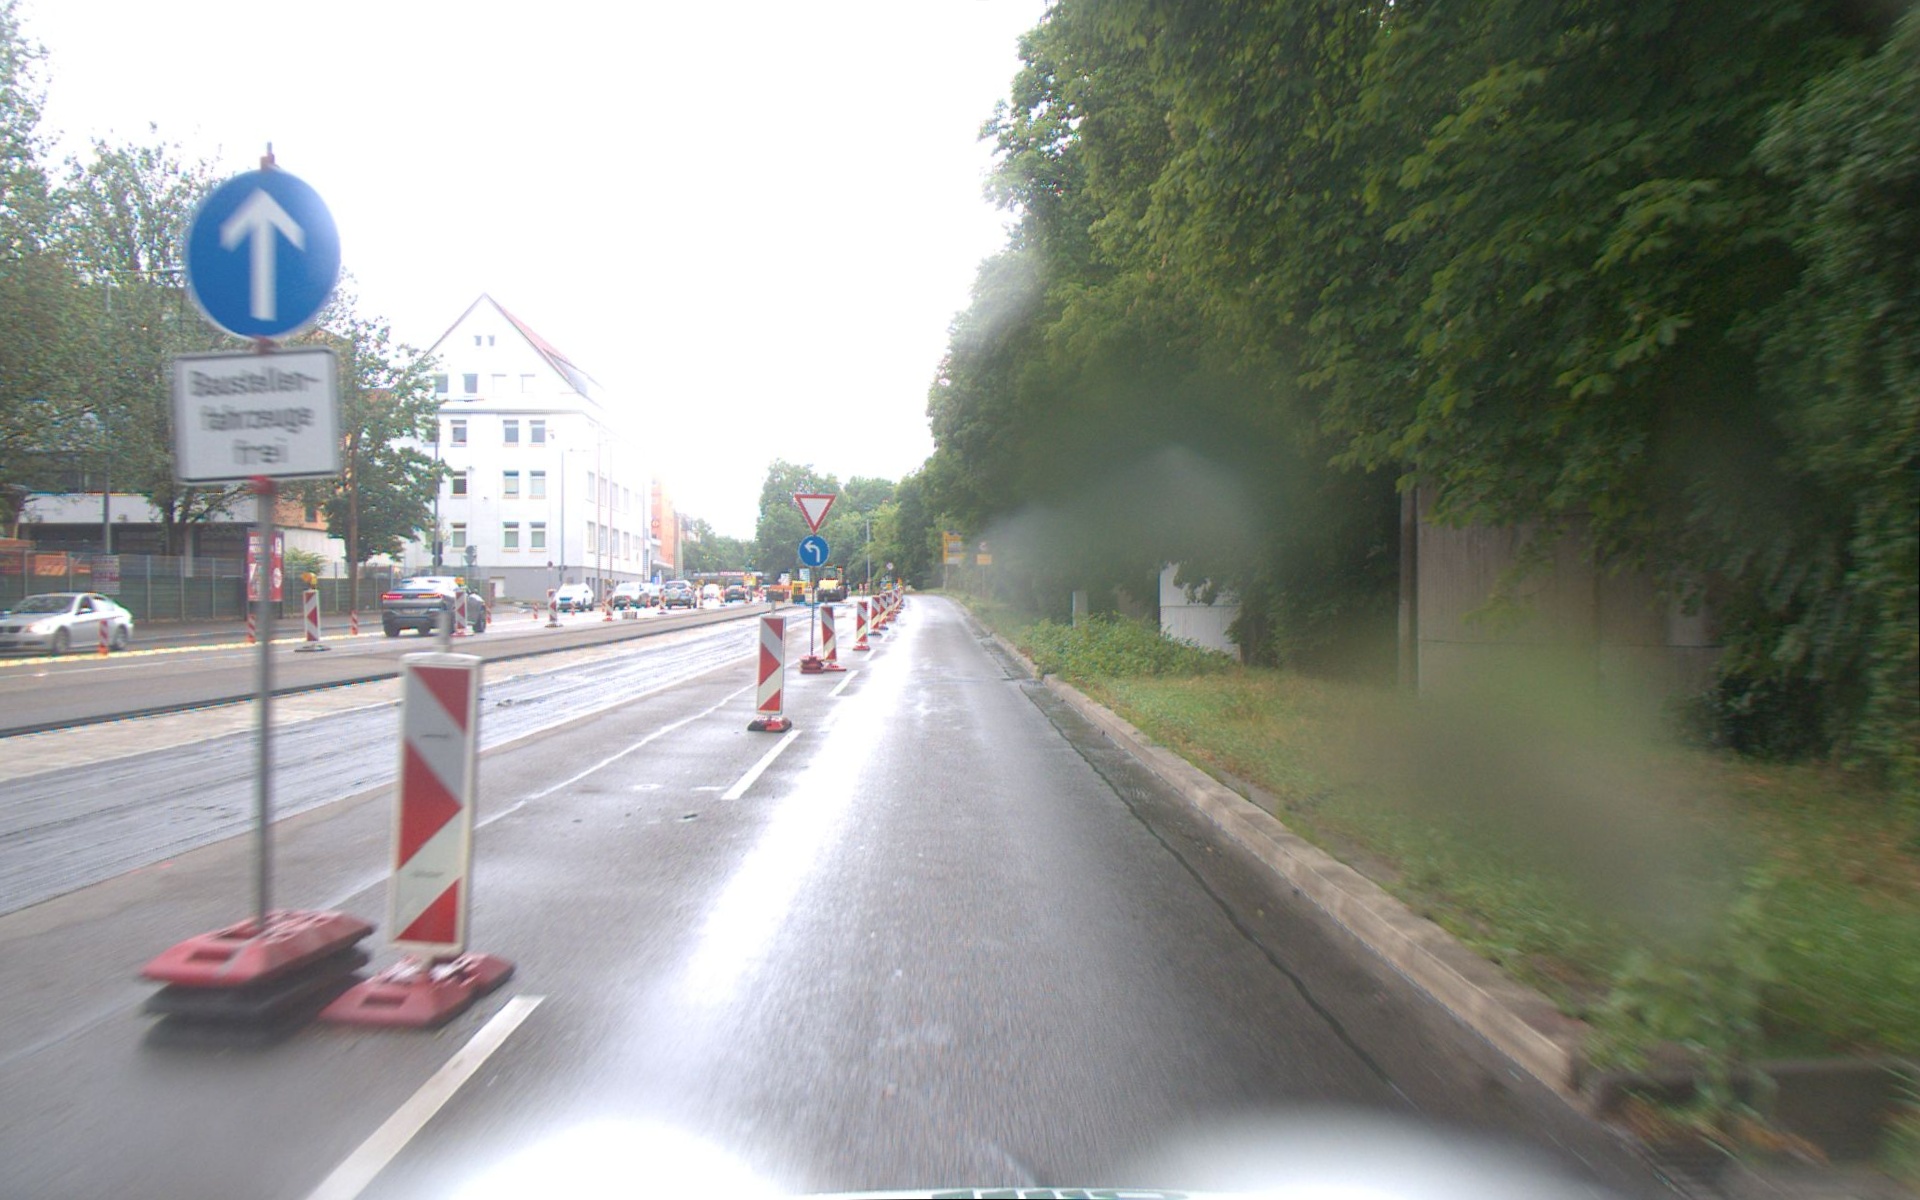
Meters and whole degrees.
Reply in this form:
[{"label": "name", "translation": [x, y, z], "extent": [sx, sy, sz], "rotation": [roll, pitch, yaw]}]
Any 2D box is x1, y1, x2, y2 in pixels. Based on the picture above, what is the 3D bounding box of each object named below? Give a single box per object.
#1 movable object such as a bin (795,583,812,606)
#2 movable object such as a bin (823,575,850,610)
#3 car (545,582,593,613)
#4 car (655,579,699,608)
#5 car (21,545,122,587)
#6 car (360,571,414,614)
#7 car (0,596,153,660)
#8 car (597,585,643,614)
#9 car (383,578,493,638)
[{"label": "movable object such as a bin", "translation": [-11.631, -0.410, 123.112], "extent": [1.061, 1.673, 2.438], "rotation": [0, 0, -2]}, {"label": "movable object such as a bin", "translation": [-9.770, -0.603, 131.406], "extent": [1.864, 2.654, 5.381], "rotation": [-1, 1, -2]}, {"label": "car", "translation": [-22.956, -0.153, 97.218], "extent": [1.821, 1.735, 4.364], "rotation": [-2, 0, -1]}, {"label": "car", "translation": [-16.582, -0.392, 97.105], "extent": [1.854, 1.679, 4.395], "rotation": [0, 0, -1]}, {"label": "car", "translation": [-34.221, -1.268, 63.680], "extent": [3.944, 1.554, 1.992], "rotation": [0, 0, 37]}, {"label": "car", "translation": [-30.181, -0.398, 87.240], "extent": [1.577, 2.208, 3.998], "rotation": [0, 0, -2]}, {"label": "car", "translation": [-20.561, 0.607, 38.191], "extent": [1.633, 1.338, 4.454], "rotation": [-2, 0, 0]}, {"label": "car", "translation": [-20.423, -0.048, 99.505], "extent": [1.821, 1.647, 4.364], "rotation": [-2, 0, -1]}, {"label": "car", "translation": [-15.190, 0.221, 48.391], "extent": [1.854, 1.679, 4.395], "rotation": [0, 0, -1]}]
